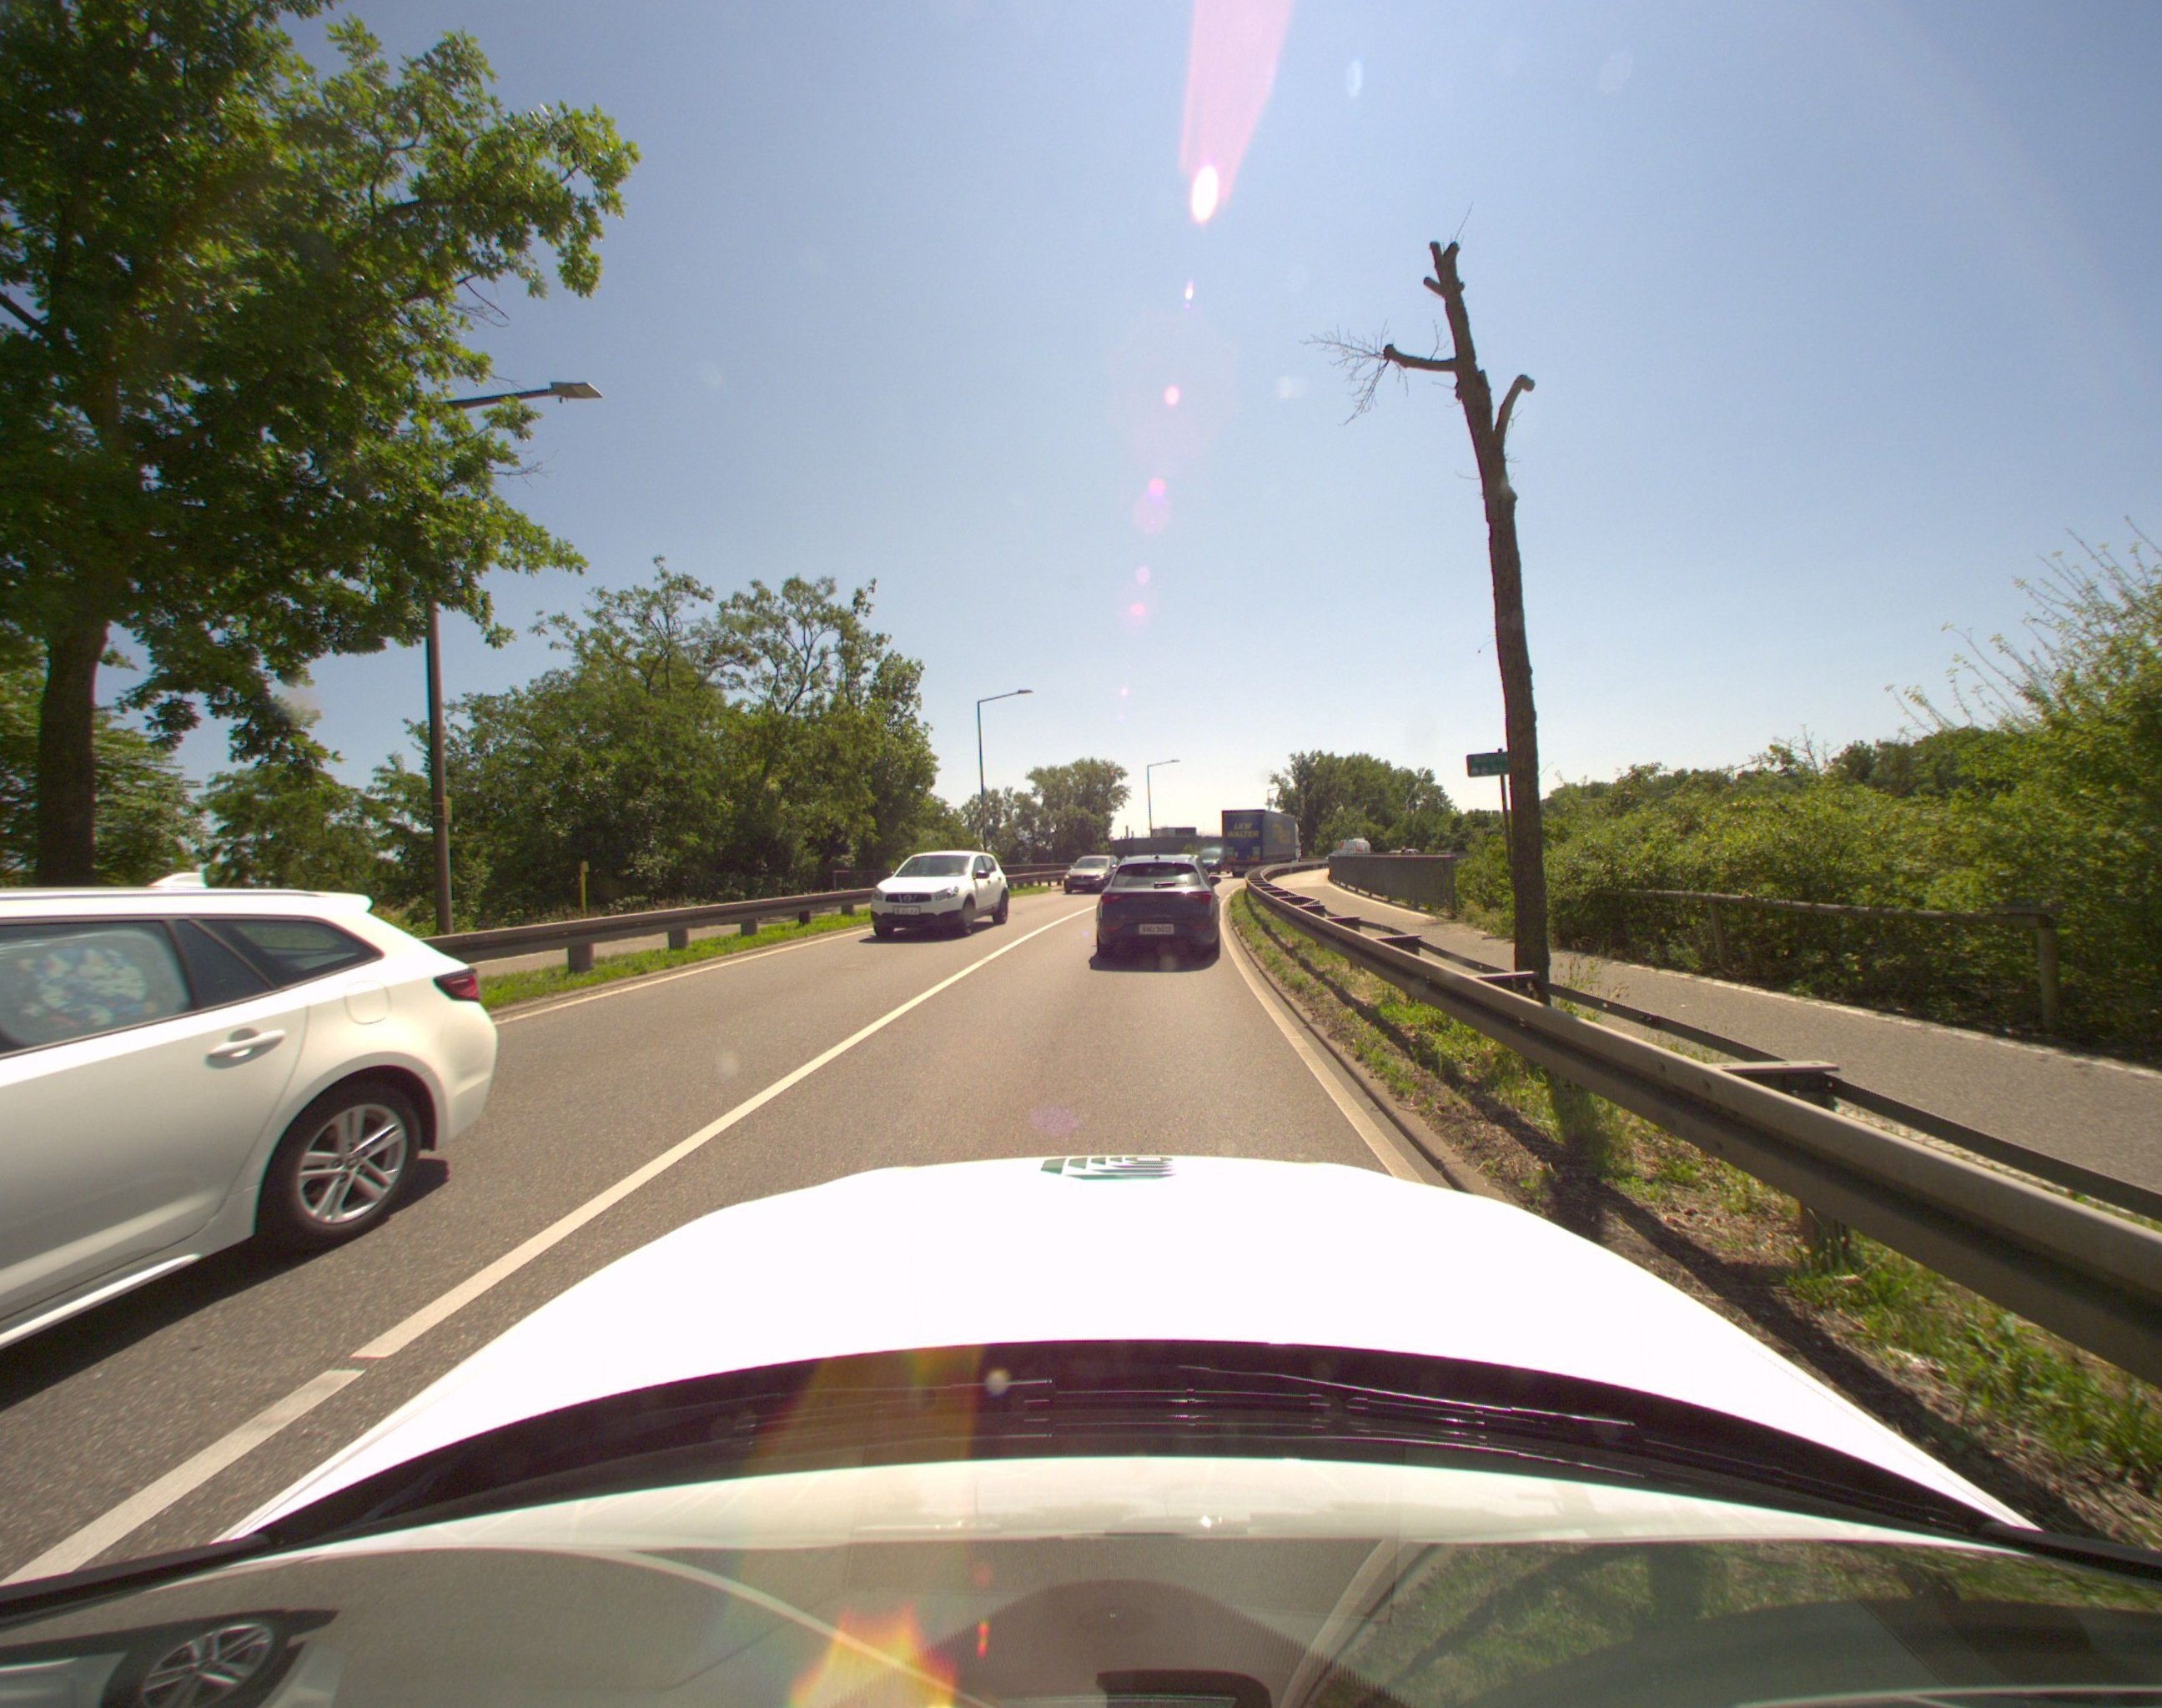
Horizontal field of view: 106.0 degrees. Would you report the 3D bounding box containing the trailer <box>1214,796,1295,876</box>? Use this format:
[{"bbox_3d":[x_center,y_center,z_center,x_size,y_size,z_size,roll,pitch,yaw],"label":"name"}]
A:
[{"bbox_3d":[11.725,-1.019,53.687,3.107,4.614,13.016,0,0,21],"label":"trailer"}]

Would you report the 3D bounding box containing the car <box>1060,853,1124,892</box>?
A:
[{"bbox_3d":[0.502,0.694,32.198,1.704,1.427,4.121,-1,0,12],"label":"car"}]

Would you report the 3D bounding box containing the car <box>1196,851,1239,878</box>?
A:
[{"bbox_3d":[9.793,0.739,58.146,1.740,1.855,4.301,-1,0,28],"label":"car"}]

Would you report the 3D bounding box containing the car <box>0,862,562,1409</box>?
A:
[{"bbox_3d":[-3.761,0.772,2.155,1.693,1.447,4.464,0,0,4],"label":"car"}]

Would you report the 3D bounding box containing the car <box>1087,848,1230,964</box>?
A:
[{"bbox_3d":[1.159,0.678,12.511,1.837,1.499,3.763,-1,0,4],"label":"car"}]

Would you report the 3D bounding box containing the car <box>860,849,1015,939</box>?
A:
[{"bbox_3d":[-2.694,0.700,16.377,1.736,1.546,4.403,-1,0,8],"label":"car"}]

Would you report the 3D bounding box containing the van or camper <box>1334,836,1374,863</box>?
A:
[{"bbox_3d":[28.020,-0.473,83.414,2.181,2.711,5.963,-1,0,36],"label":"van or camper"}]

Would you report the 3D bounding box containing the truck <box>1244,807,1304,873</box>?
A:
[{"bbox_3d":[14.386,-0.945,60.347,3.142,4.585,7.436,0,-1,22],"label":"truck"}]

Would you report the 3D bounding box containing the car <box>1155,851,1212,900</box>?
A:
[{"bbox_3d":[3.381,0.649,26.427,1.583,1.461,3.556,0,0,11],"label":"car"}]
